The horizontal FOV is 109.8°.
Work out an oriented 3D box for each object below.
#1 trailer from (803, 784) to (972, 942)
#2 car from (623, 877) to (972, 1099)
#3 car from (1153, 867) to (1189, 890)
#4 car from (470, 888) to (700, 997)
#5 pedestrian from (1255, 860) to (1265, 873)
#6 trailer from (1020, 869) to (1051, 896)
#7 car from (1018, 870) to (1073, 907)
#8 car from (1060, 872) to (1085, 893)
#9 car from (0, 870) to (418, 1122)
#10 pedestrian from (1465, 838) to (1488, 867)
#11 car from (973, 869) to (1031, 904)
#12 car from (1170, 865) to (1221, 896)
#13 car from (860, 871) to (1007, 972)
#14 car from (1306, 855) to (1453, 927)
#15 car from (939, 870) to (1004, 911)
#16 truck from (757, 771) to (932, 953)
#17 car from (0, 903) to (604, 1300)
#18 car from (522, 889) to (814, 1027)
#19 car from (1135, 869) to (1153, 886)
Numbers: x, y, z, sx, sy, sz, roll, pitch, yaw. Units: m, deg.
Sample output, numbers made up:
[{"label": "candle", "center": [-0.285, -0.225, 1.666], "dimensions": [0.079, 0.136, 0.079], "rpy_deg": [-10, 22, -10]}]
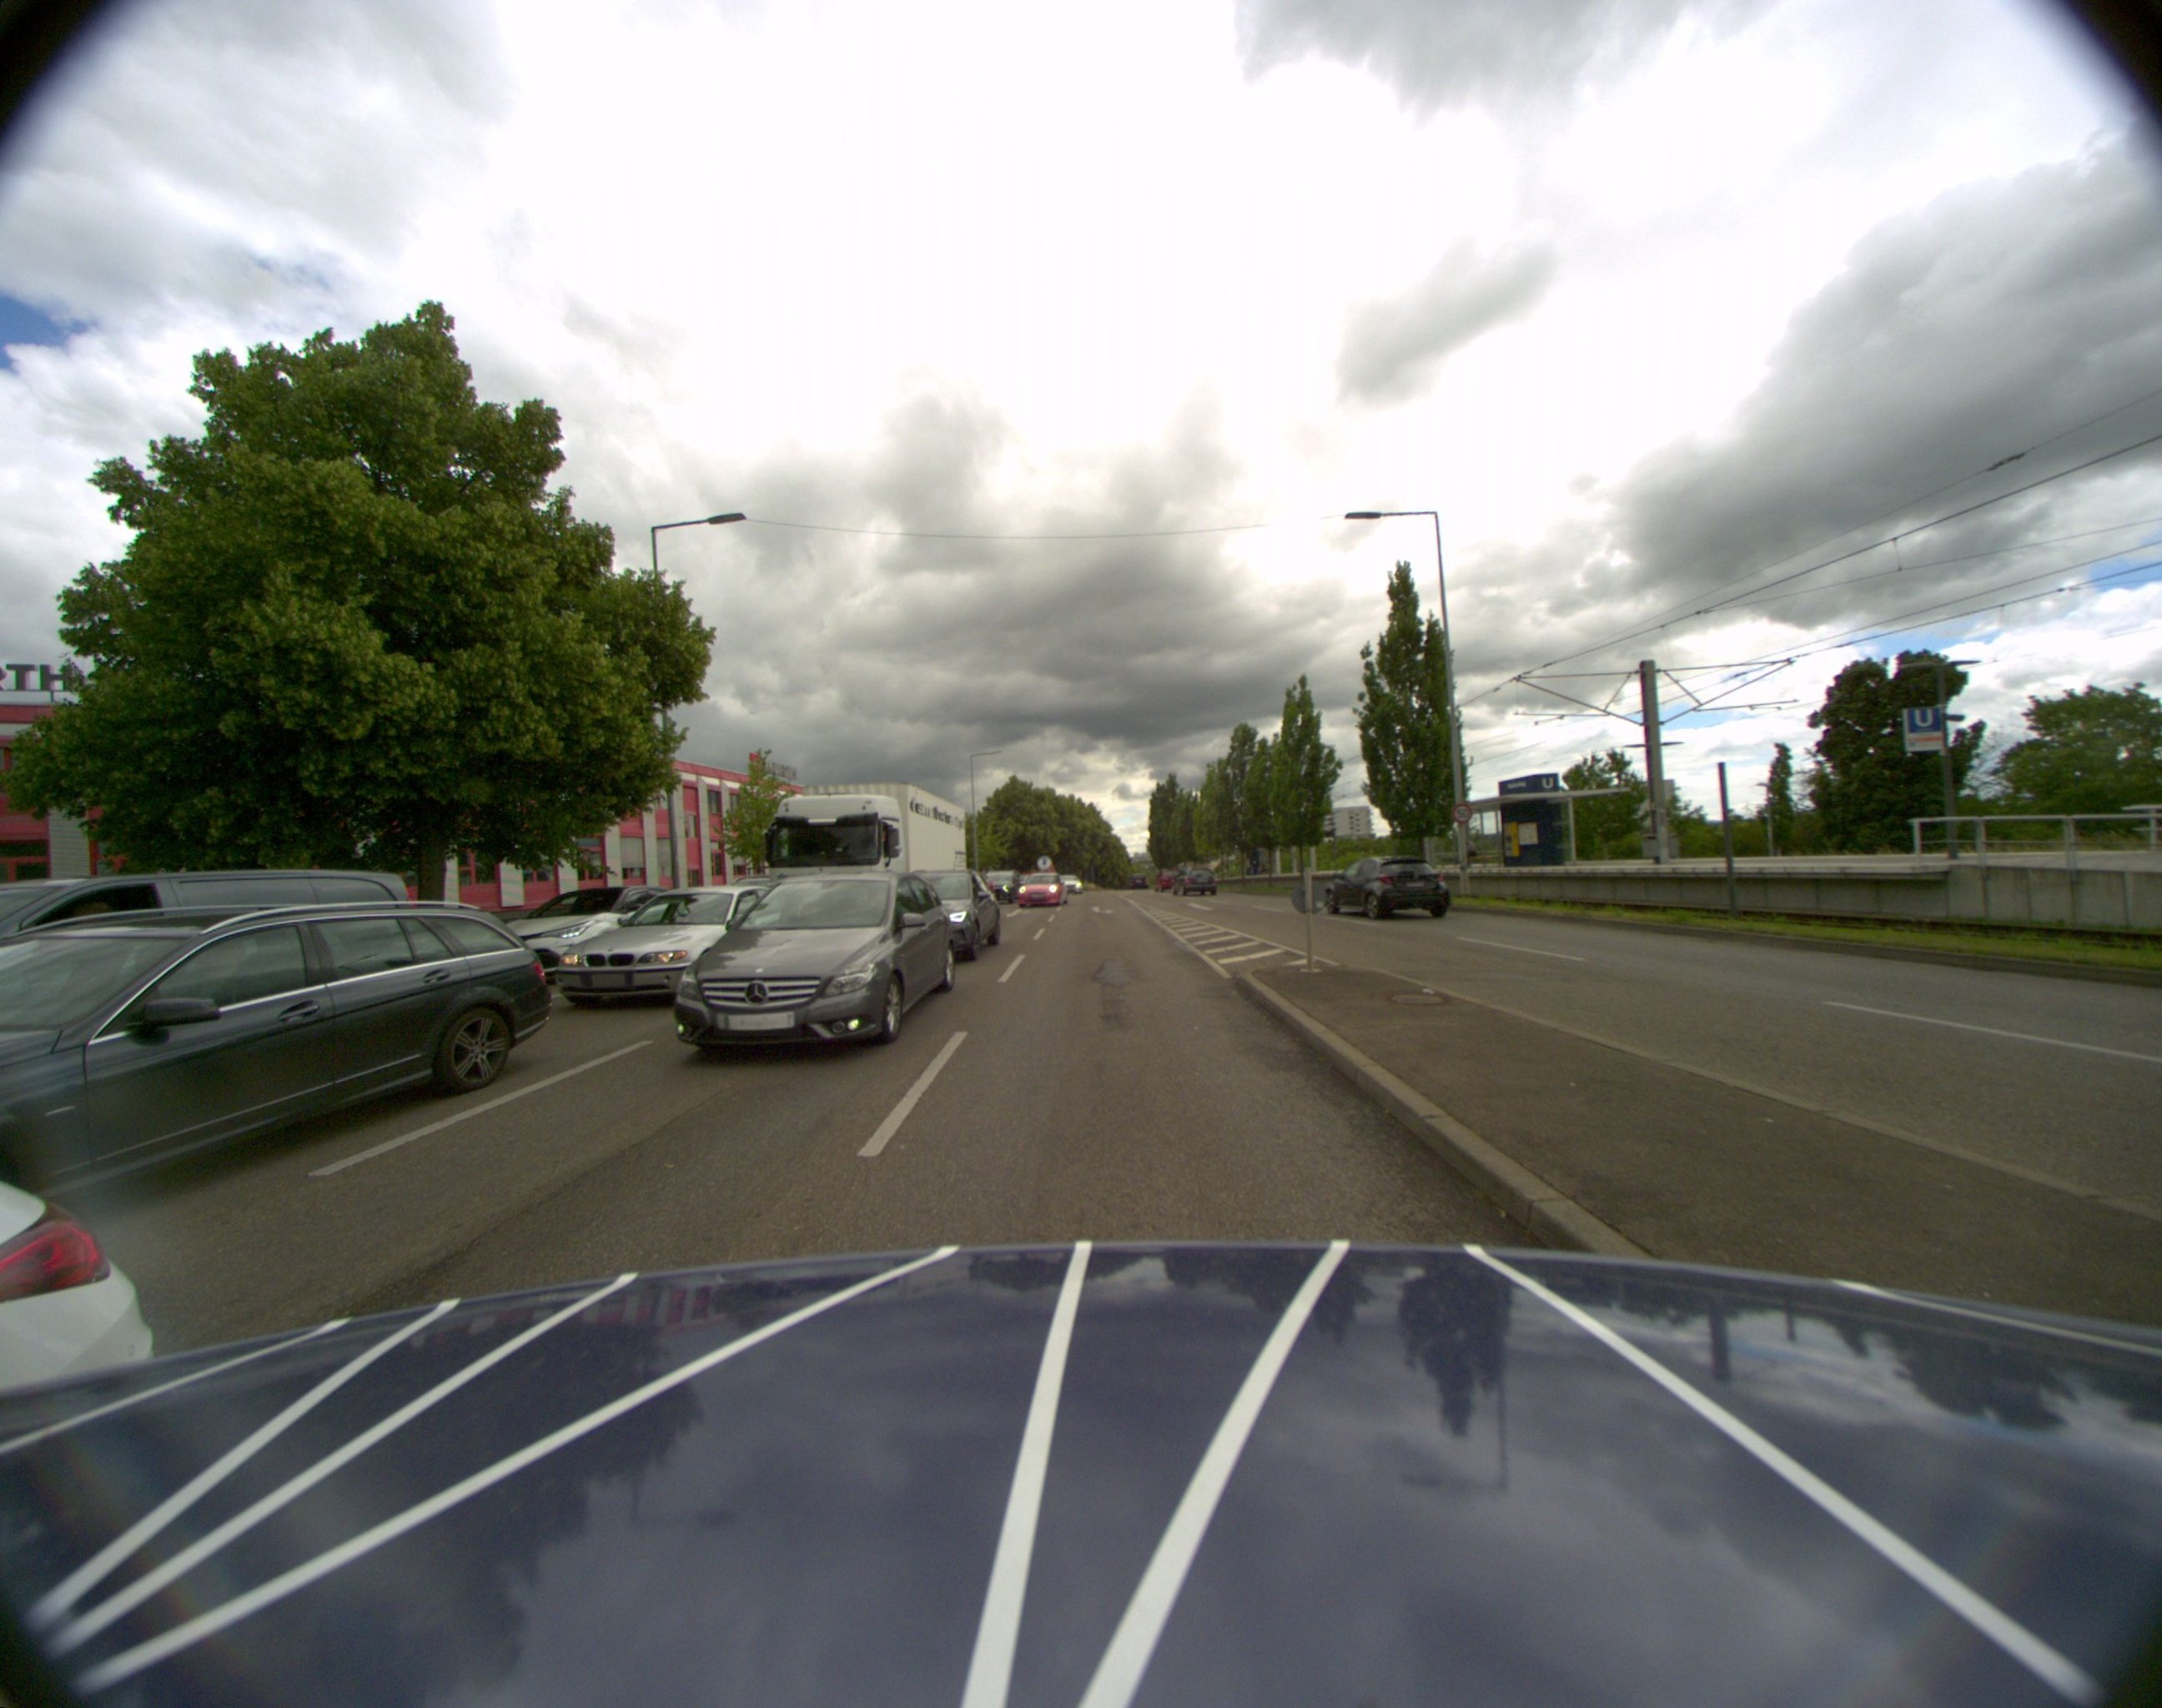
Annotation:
[{"label": "trailer", "center": [-5.175, 0.294, 22.007], "dimensions": [2.572, 3.683, 7.766], "rpy_deg": [-2, -1, 2]}, {"label": "car", "center": [-2.455, 1.082, 7.843], "dimensions": [1.803, 1.514, 4.188], "rpy_deg": [-2, 0, 3]}, {"label": "car", "center": [6.067, 1.675, 51.755], "dimensions": [1.707, 1.479, 4.086], "rpy_deg": [-2, -1, -3]}, {"label": "car", "center": [-8.559, 1.447, 13.536], "dimensions": [1.645, 1.487, 3.683], "rpy_deg": [-2, 0, 0]}, {"label": "pedestrian", "center": [16.813, 1.149, 71.274], "dimensions": [0.763, 1.192, 0.666], "rpy_deg": [-2, -2, 0]}, {"label": "trailer", "center": [-2.766, 1.741, 46.755], "dimensions": [1.412, 1.584, 3.305], "rpy_deg": [-2, -2, 5]}, {"label": "car", "center": [-1.482, 1.453, 32.858], "dimensions": [1.722, 1.448, 3.699], "rpy_deg": [-2, -1, 7]}, {"label": "car", "center": [-0.634, 2.161, 56.473], "dimensions": [1.751, 1.438, 3.646], "rpy_deg": [-2, -3, 0]}, {"label": "car", "center": [-8.834, 1.108, 6.719], "dimensions": [1.829, 1.793, 4.507], "rpy_deg": [-2, 0, 2]}, {"label": "pedestrian", "center": [17.859, -0.060, 34.356], "dimensions": [0.611, 1.261, 0.660], "rpy_deg": [-2, -3, -2]}, {"label": "car", "center": [-3.844, 1.572, 37.772], "dimensions": [1.848, 1.552, 4.407], "rpy_deg": [-2, -1, 8]}, {"label": "car", "center": [5.988, 1.350, 40.156], "dimensions": [1.695, 1.431, 4.544], "rpy_deg": [-2, 0, -3]}, {"label": "car", "center": [-2.493, 1.104, 13.838], "dimensions": [1.702, 1.477, 4.001], "rpy_deg": [-2, -1, 3]}, {"label": "car", "center": [7.326, 0.852, 19.110], "dimensions": [1.598, 1.487, 3.937], "rpy_deg": [-5, 0, -8]}, {"label": "car", "center": [-4.487, 1.463, 31.751], "dimensions": [1.711, 1.515, 4.321], "rpy_deg": [-2, -1, 4]}, {"label": "truck", "center": [-5.309, 0.219, 17.775], "dimensions": [2.577, 3.683, 4.107], "rpy_deg": [-2, -1, 2]}, {"label": "car", "center": [-5.400, 1.195, 4.899], "dimensions": [1.829, 1.427, 4.213], "rpy_deg": [-2, 0, 2]}, {"label": "car", "center": [-5.404, 1.279, 10.683], "dimensions": [1.816, 1.346, 4.118], "rpy_deg": [-2, -1, 0]}, {"label": "car", "center": [6.244, 2.353, 75.665], "dimensions": [1.729, 1.563, 3.710], "rpy_deg": [-2, -4, 3]}]
